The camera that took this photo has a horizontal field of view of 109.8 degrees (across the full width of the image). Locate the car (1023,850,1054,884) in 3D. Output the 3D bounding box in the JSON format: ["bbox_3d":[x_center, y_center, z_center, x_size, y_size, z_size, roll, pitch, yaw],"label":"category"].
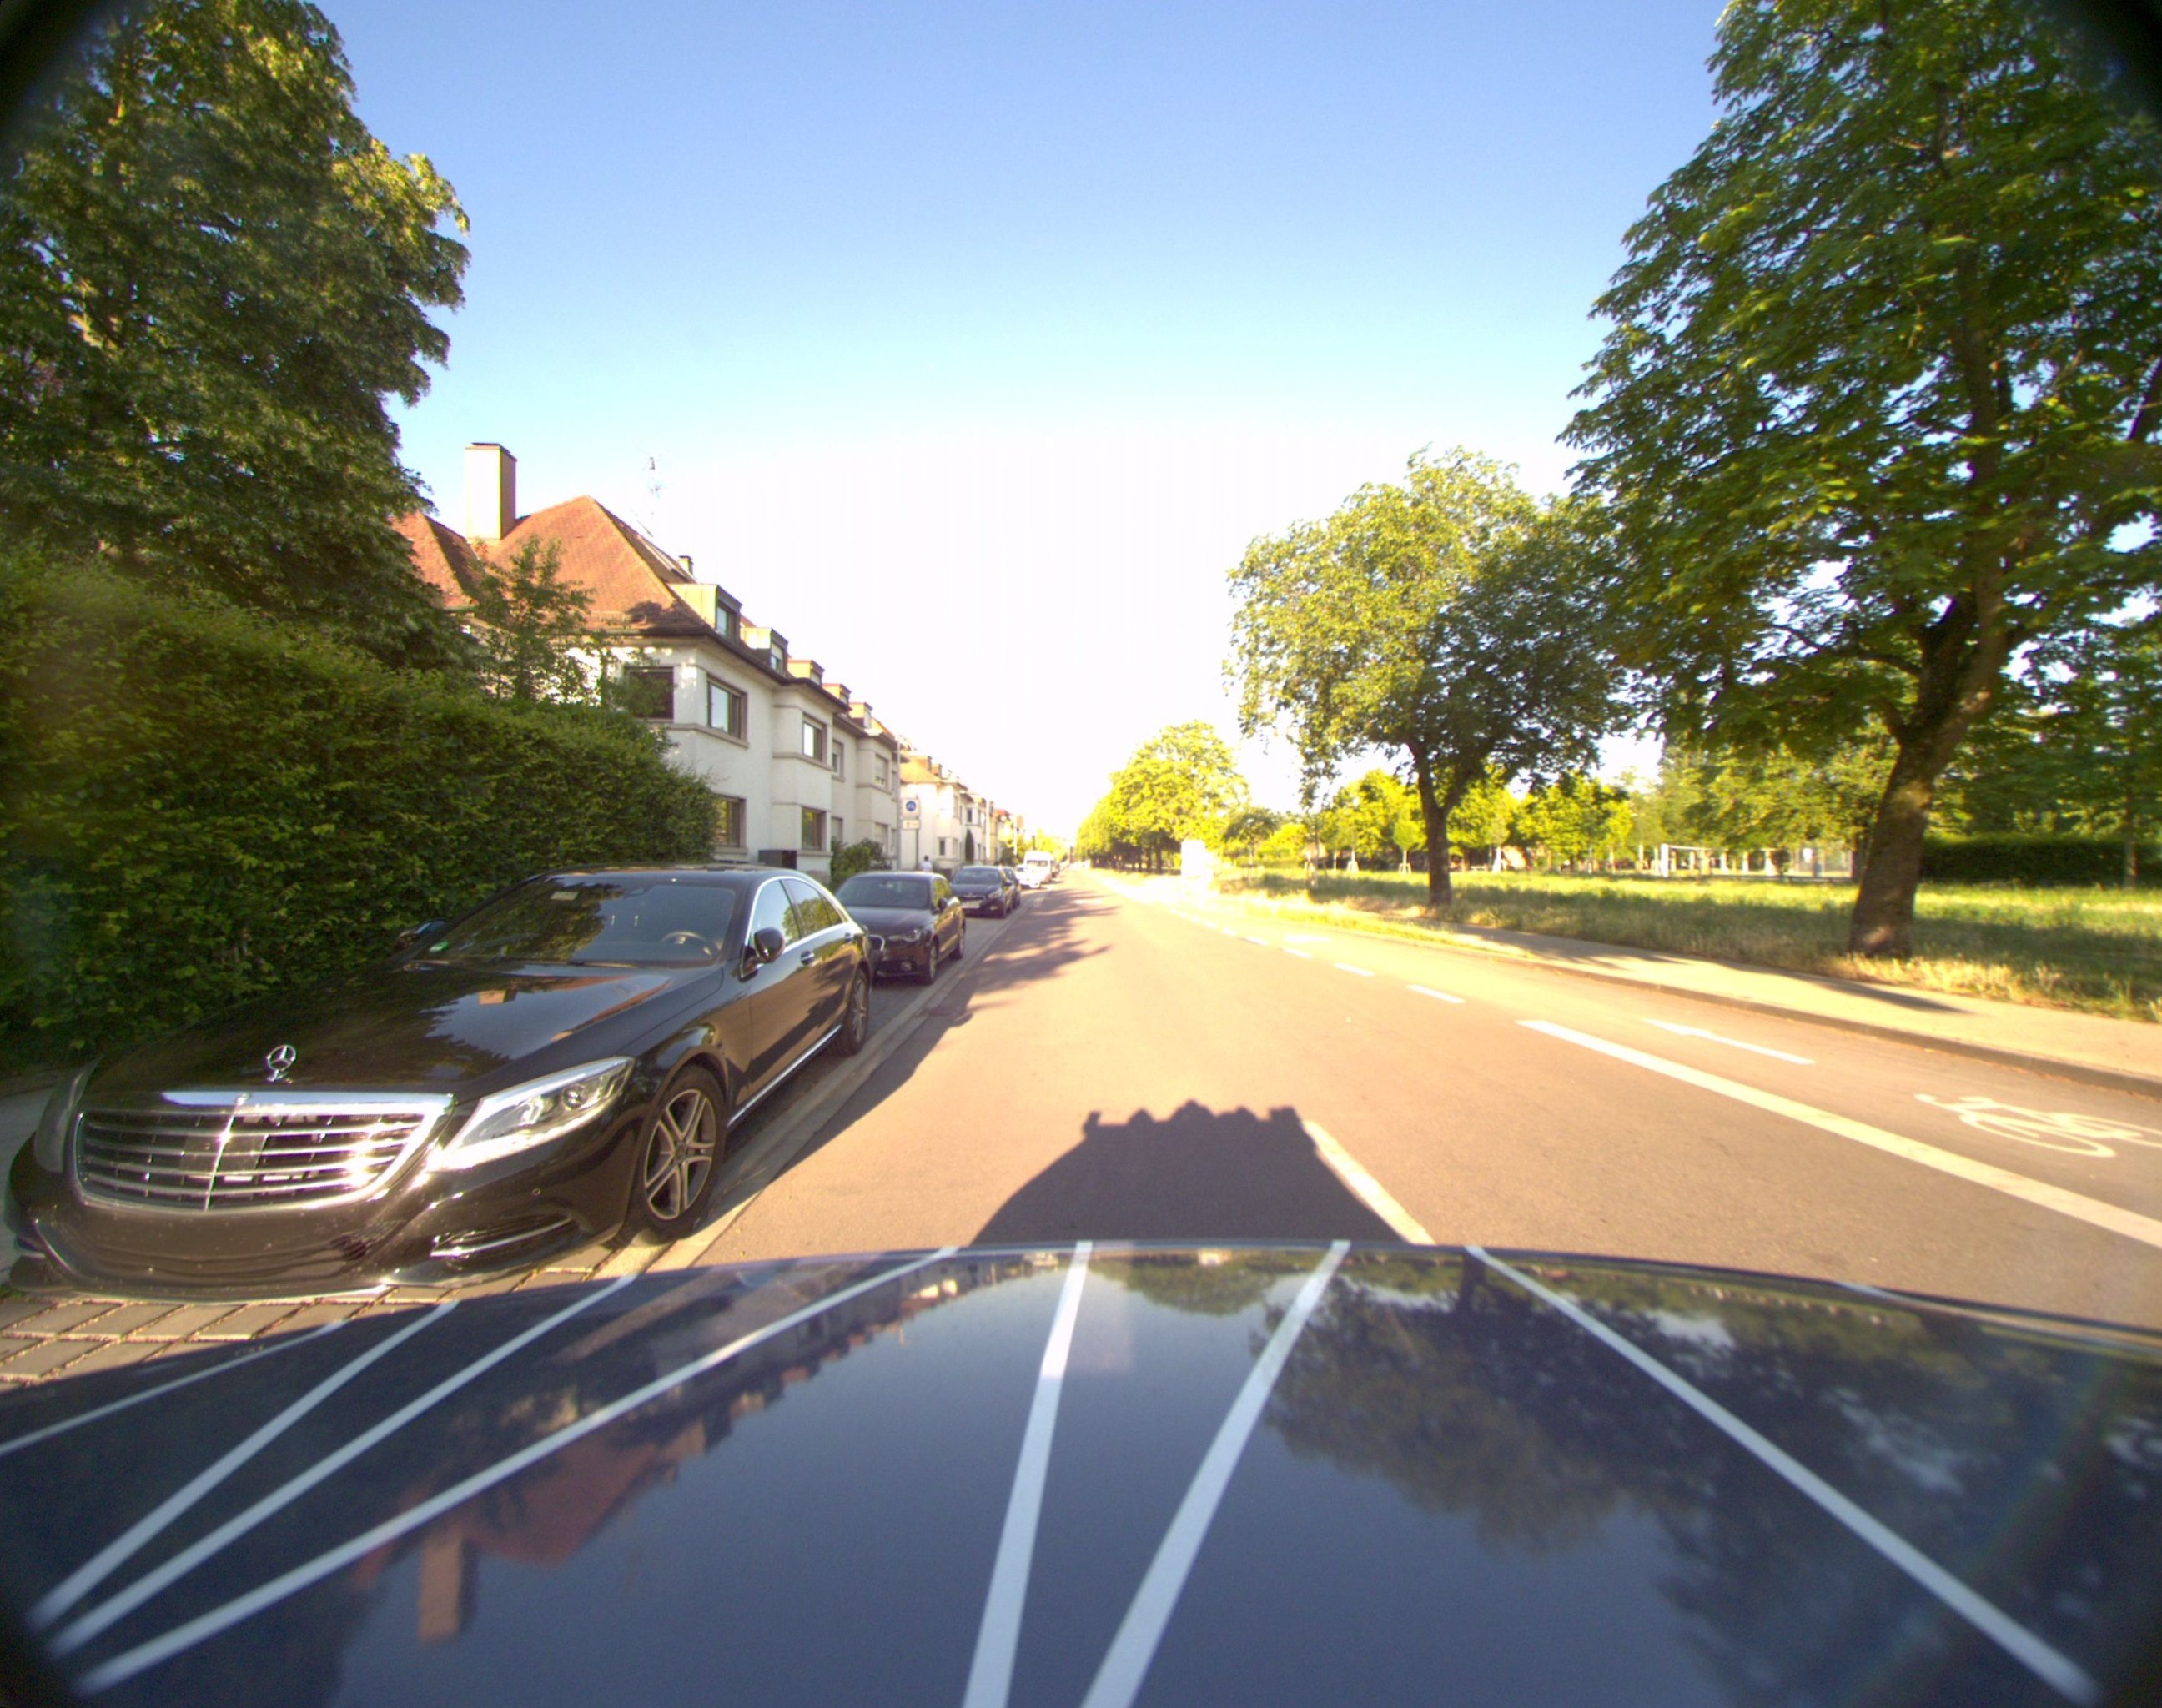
[{"bbox_3d":[-3.282,0.965,59.834,2.132,2.461,5.723,-2,1,-1],"label":"car"}]

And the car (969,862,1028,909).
[{"bbox_3d":[-2.924,1.096,27.551,1.680,1.525,3.472,-2,-1,1],"label":"car"}]

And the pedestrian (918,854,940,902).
[{"bbox_3d":[-6.009,0.952,30.054,0.587,1.835,0.823,-2,1,1],"label":"pedestrian"}]

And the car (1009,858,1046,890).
[{"bbox_3d":[-3.240,1.179,46.562,1.999,1.775,3.999,-2,1,-1],"label":"car"}]

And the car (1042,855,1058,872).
[{"bbox_3d":[-3.600,1.120,89.104,1.708,1.848,3.712,-2,1,0],"label":"car"}]

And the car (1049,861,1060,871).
[{"bbox_3d":[-4.114,1.838,117.205,1.682,1.543,3.842,1,0,-3],"label":"car"}]

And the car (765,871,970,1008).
[{"bbox_3d":[-2.747,1.027,10.740,1.784,1.469,4.000,-2,-1,-1],"label":"car"}]

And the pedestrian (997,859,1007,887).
[{"bbox_3d":[-5.223,1.266,50.394,0.531,1.787,0.589,-2,1,-2],"label":"pedestrian"}]

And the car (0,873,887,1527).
[{"bbox_3d":[-2.609,0.909,4.305,2.009,1.489,4.914,1,0,-3],"label":"car"}]

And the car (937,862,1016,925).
[{"bbox_3d":[-2.939,1.075,22.159,1.796,1.586,4.077,-2,-1,-1],"label":"car"}]
